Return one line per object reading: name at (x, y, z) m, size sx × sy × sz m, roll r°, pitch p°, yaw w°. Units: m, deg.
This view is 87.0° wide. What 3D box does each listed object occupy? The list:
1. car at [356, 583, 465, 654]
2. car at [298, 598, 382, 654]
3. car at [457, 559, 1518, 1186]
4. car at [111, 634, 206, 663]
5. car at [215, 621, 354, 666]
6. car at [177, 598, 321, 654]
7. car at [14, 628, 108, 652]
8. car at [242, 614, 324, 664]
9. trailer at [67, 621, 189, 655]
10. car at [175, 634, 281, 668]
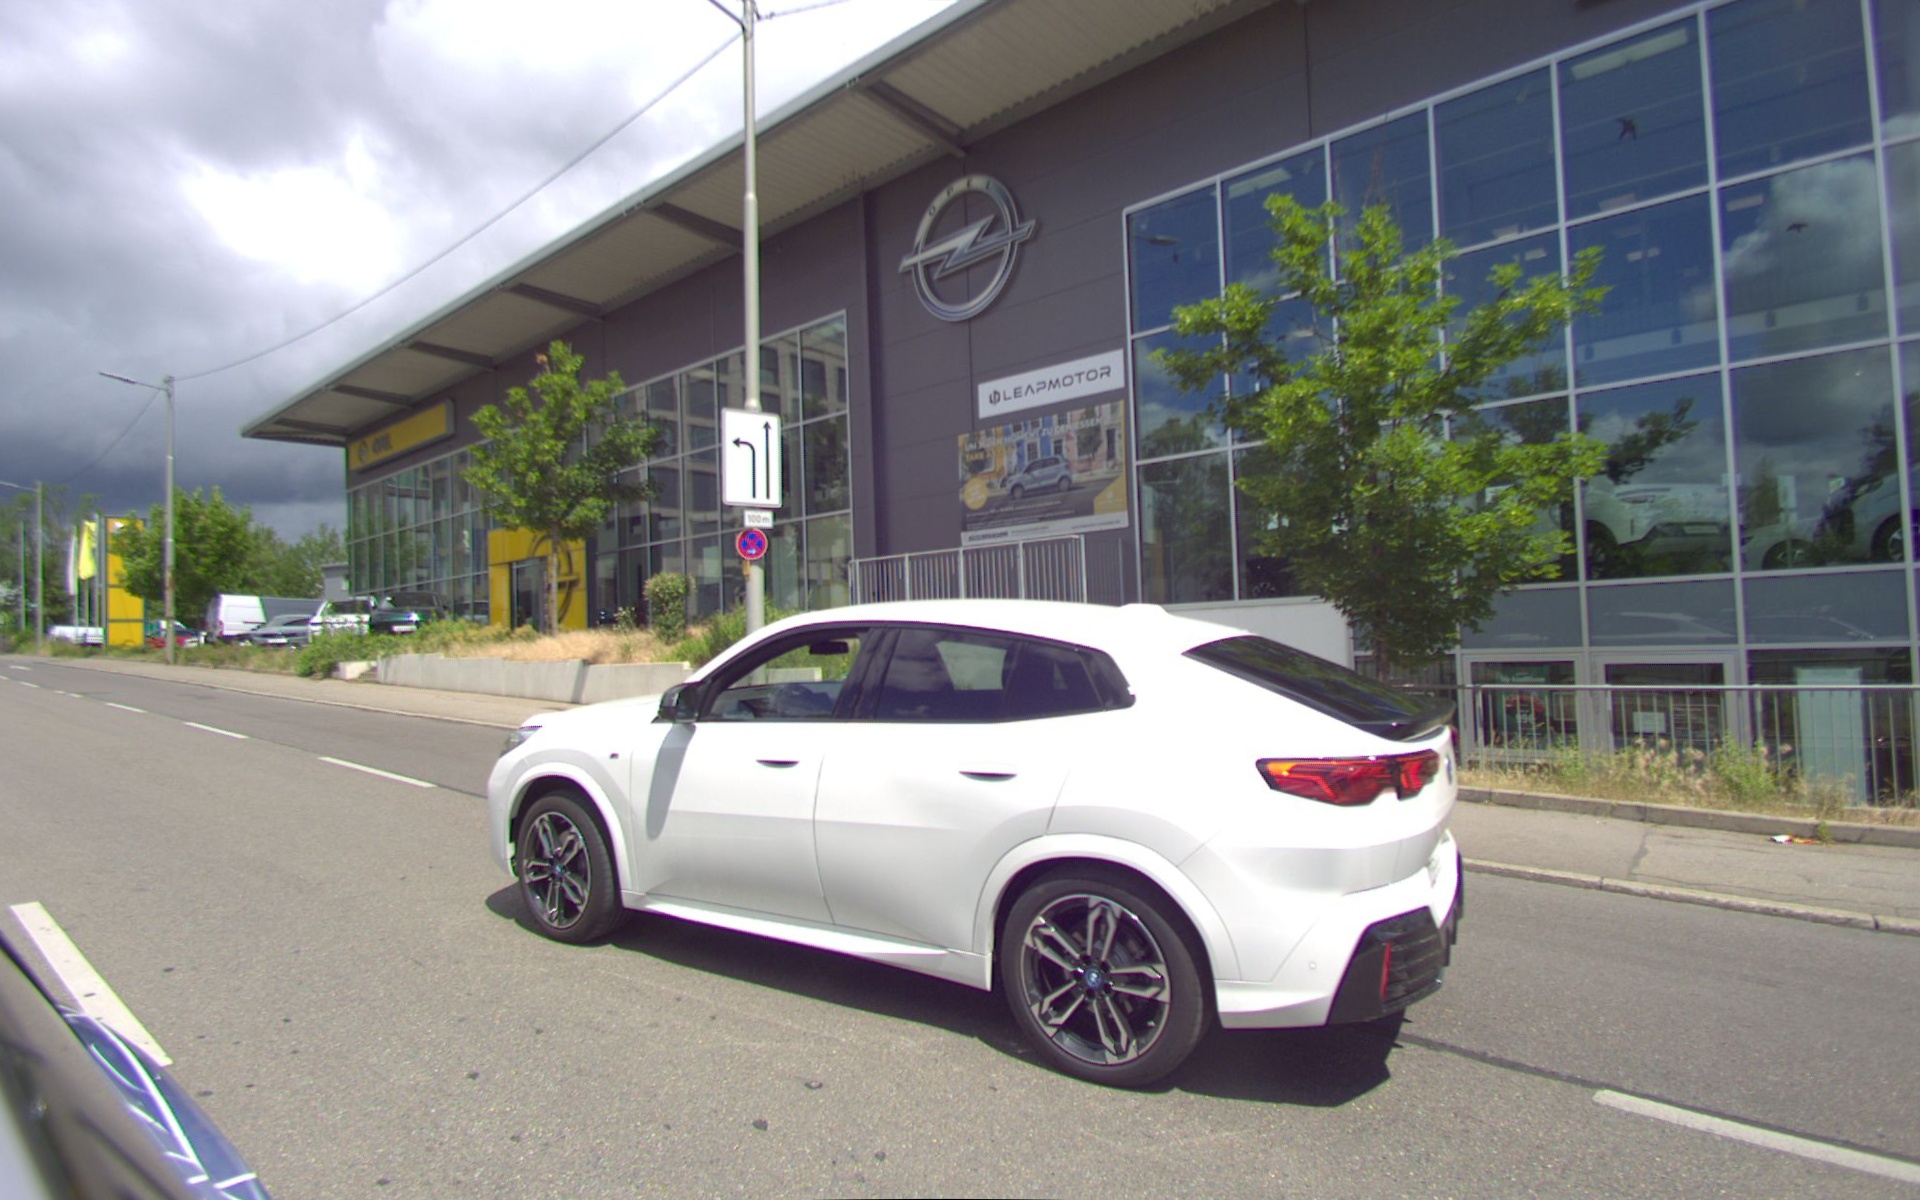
car at (-15.483, 0.541, 28.739) m, size 1.792 × 1.624 × 4.121 m, roll -9°, pitch 1°, yaw -17°
car at (-19.345, 0.810, 31.749) m, size 1.767 × 1.625 × 4.122 m, roll 0°, pitch -1°, yaw -25°
car at (-0.027, 0.736, 4.422) m, size 4.289 × 1.564 × 1.815 m, roll -1°, pitch -3°, yaw 30°
car at (-42.019, 2.526, 53.106) m, size 1.814 × 1.420 × 3.621 m, roll -2°, pitch -2°, yaw 42°
car at (-25.733, 1.640, 38.680) m, size 1.792 × 1.625 × 4.064 m, roll -2°, pitch -2°, yaw 32°
car at (-29.349, 1.058, 41.883) m, size 2.177 × 2.211 × 4.476 m, roll -1°, pitch -1°, yaw 38°
car at (-57.670, 2.523, 64.953) m, size 2.093 × 1.493 × 4.200 m, roll -2°, pitch -2°, yaw 38°
car at (-23.421, 1.348, 35.136) m, size 1.767 × 1.625 × 4.122 m, roll 1°, pitch -2°, yaw -26°
trailer at (-45.324, 2.062, 55.234) m, size 2.092 × 1.765 × 4.776 m, roll -2°, pitch -2°, yaw 37°
car at (-35.526, 2.446, 49.170) m, size 1.559 × 1.539 × 3.897 m, roll -2°, pitch -2°, yaw 38°
